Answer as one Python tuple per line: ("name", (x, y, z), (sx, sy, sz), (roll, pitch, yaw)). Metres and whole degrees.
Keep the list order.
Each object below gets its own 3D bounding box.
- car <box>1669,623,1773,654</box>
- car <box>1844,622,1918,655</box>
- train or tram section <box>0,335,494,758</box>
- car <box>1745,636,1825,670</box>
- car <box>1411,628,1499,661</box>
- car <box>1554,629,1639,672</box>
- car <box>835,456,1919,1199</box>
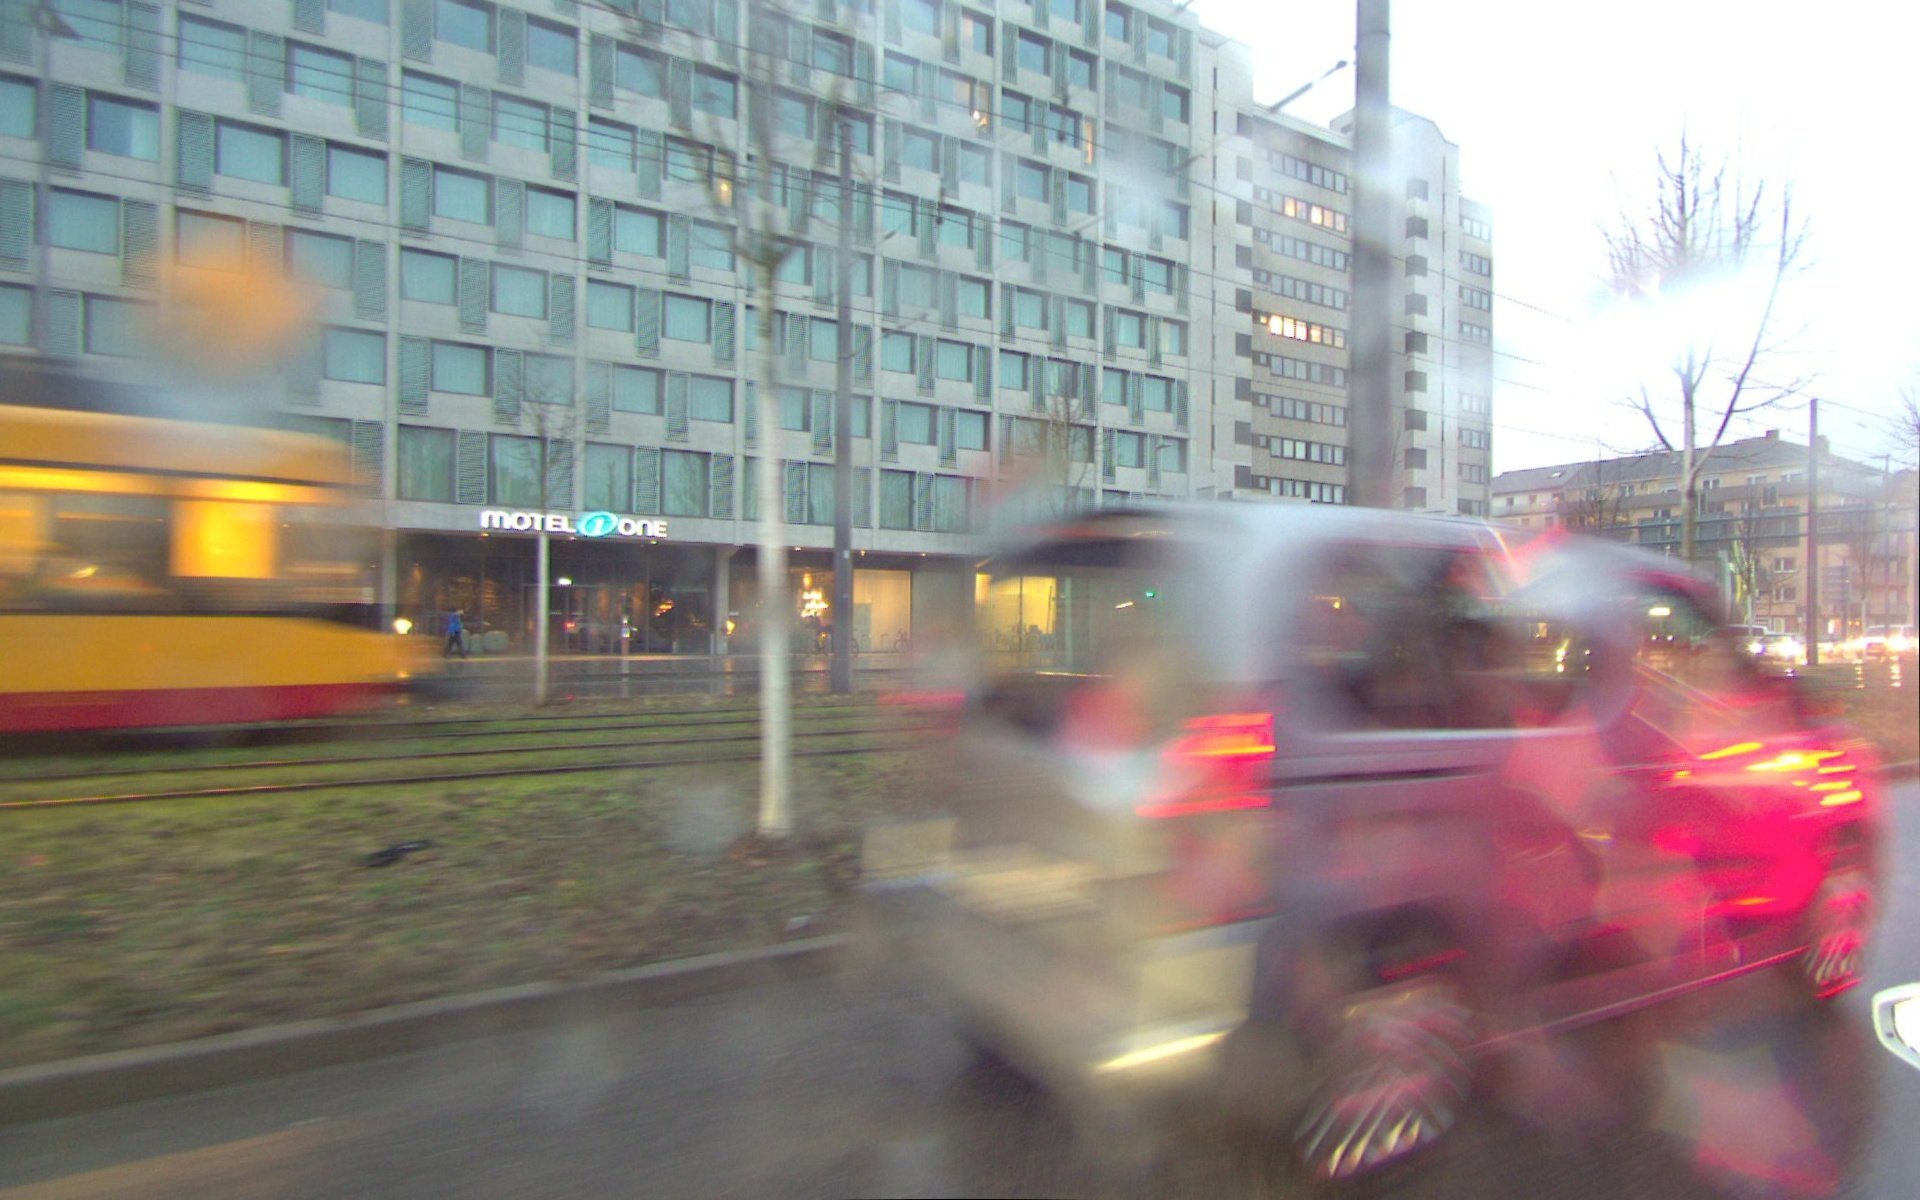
("car", (49.796, 2.488, 65.864), (5.059, 1.937, 2.001), (0, -1, 15))
("car", (50.874, 2.116, 55.443), (5.064, 1.742, 1.885), (1, -1, -34))
("train or tram section", (-11.603, -0.487, 8.025), (14.096, 3.533, 2.943), (1, -1, -30))
("car", (37.930, 2.407, 46.170), (3.668, 1.450, 1.884), (1, -1, -34))
("car", (25.365, 2.270, 51.589), (3.925, 1.405, 1.935), (3, 1, 26))
("car", (29.702, 2.335, 46.861), (3.878, 1.910, 1.715), (1, -1, -29))
("car", (1.934, 0.624, 4.013), (4.485, 1.759, 1.784), (2, 0, -31))
